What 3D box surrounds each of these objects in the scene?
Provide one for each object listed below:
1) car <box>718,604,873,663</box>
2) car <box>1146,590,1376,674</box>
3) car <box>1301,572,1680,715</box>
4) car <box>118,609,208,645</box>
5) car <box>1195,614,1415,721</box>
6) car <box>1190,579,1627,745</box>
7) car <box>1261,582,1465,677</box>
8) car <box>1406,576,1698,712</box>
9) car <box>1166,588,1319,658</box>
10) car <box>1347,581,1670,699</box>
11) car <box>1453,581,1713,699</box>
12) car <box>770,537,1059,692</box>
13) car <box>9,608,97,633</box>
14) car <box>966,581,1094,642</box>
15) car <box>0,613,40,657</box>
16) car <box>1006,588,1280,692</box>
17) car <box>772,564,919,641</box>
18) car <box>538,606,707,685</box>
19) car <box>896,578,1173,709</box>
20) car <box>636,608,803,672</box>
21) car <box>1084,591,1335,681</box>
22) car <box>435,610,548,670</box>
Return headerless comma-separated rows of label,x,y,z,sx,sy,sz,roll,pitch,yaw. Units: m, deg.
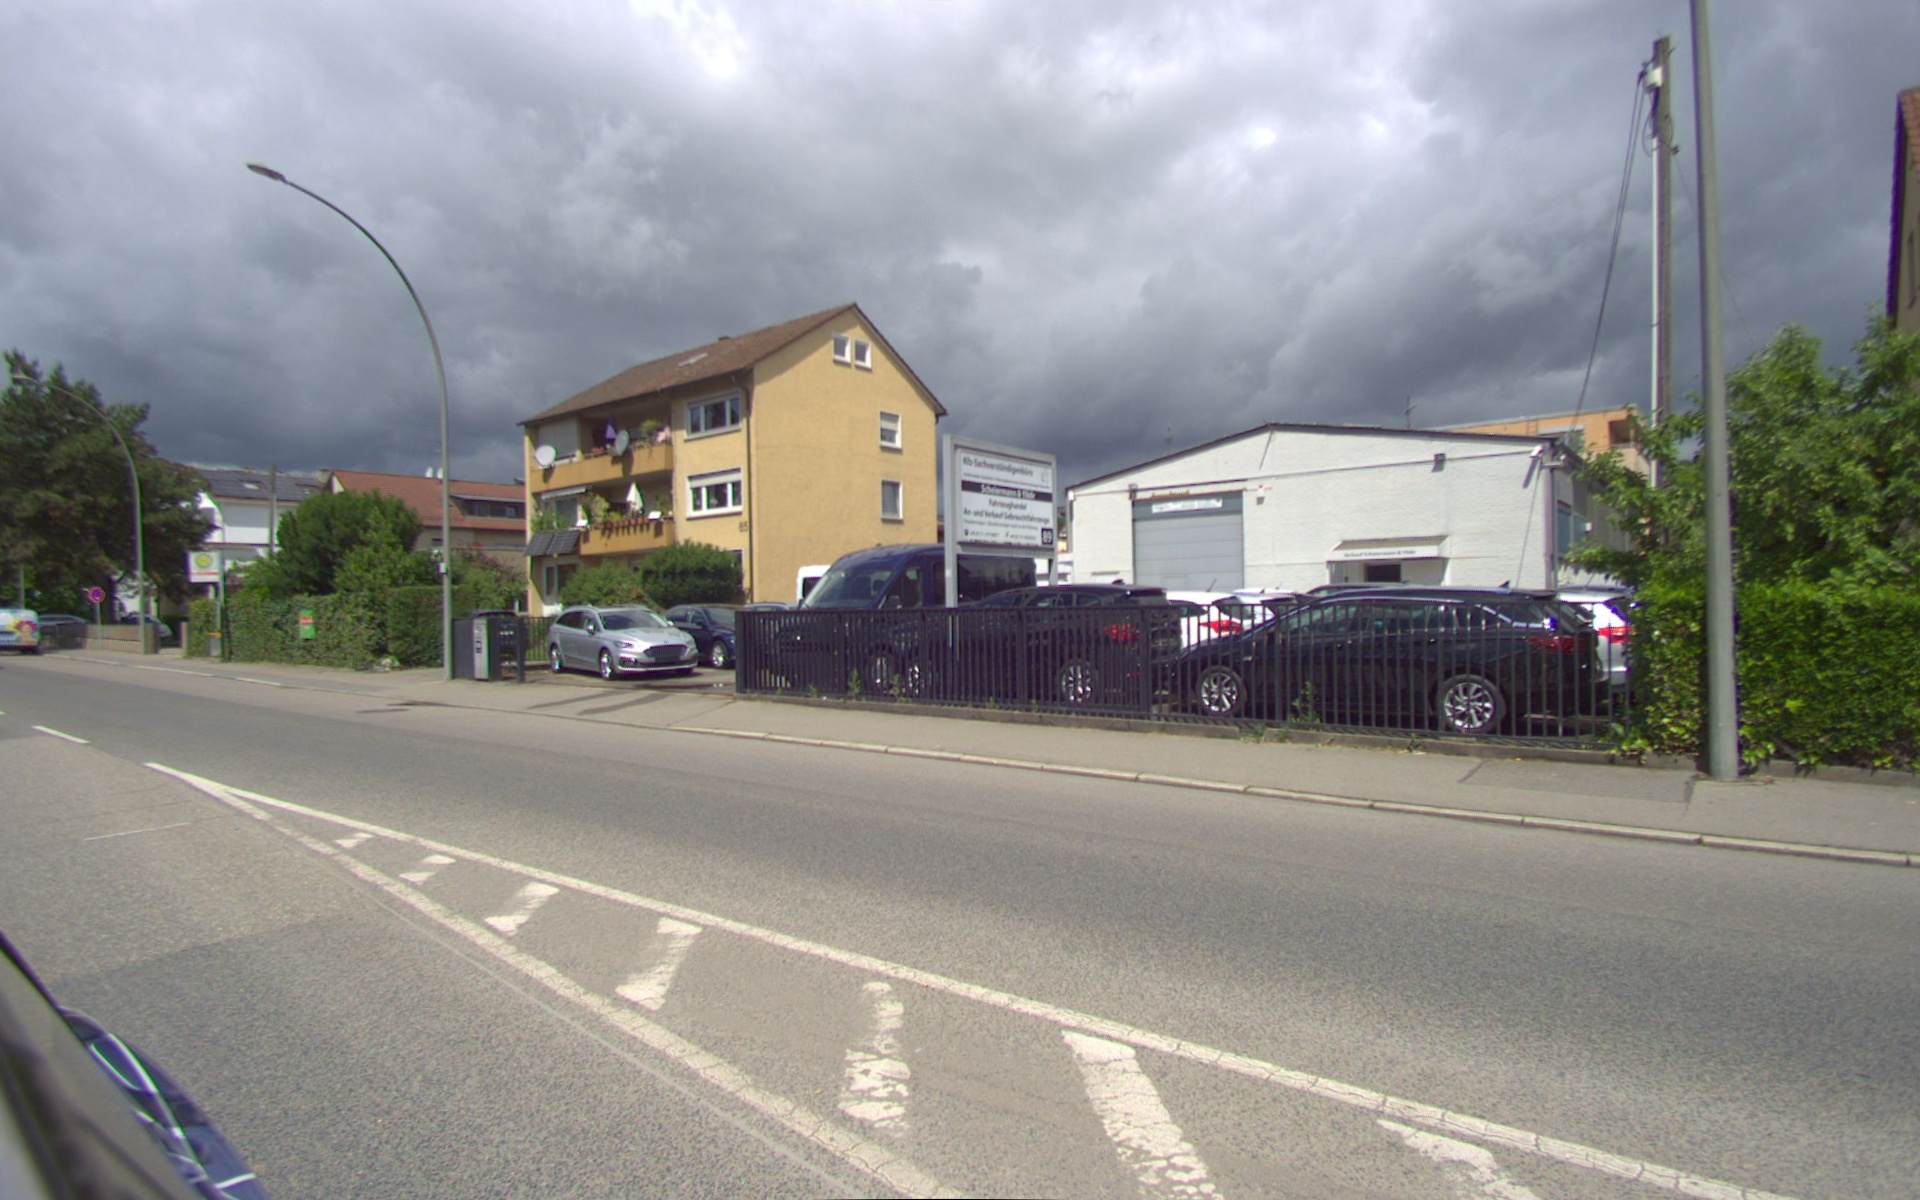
car,-4.327,0.829,26.288,3.998,1.383,1.859,-1,0,41
car,5.871,0.584,19.983,3.998,1.498,1.742,-1,0,41
car,6.737,0.483,13.058,3.998,1.552,1.973,-1,0,41
car,-46.372,1.573,58.936,3.954,2.029,1.995,-1,0,9
car,7.290,1.332,21.559,3.998,2.029,1.973,-1,0,41
car,4.802,0.568,11.123,4.040,1.494,1.840,-1,0,40
car,9.379,0.640,23.698,3.998,2.029,1.973,-1,0,41
car,10.004,0.668,17.235,3.998,2.029,1.973,-1,0,41
car,8.449,0.659,30.423,3.998,1.941,1.973,-1,0,41
car,8.278,0.543,15.444,3.998,1.560,1.973,-1,0,41
car,11.960,0.701,19.537,3.998,2.029,1.973,-1,0,41
car,-0.647,0.217,18.355,2.104,2.402,5.293,-1,0,42
car,-68.441,1.526,76.411,2.216,1.691,4.676,-1,0,39
car,2.363,0.383,34.624,3.998,1.941,1.973,-1,0,41
car,-39.259,1.408,41.485,3.995,1.693,1.708,-1,0,39
car,2.863,0.575,16.314,3.998,1.470,1.795,-1,0,41
car,-3.302,0.077,28.720,3.998,2.029,1.973,-1,0,41
car,-7.283,0.893,21.569,1.861,1.470,4.356,-2,1,-41
car,1.000,0.552,14.530,3.619,1.633,1.790,-1,0,41
car,-5.707,0.890,23.813,3.998,1.352,1.861,-1,0,41
car,4.346,0.579,17.989,3.998,1.423,1.716,-1,0,41
car,-14.131,1.158,30.450,3.520,1.678,1.807,-1,0,41
